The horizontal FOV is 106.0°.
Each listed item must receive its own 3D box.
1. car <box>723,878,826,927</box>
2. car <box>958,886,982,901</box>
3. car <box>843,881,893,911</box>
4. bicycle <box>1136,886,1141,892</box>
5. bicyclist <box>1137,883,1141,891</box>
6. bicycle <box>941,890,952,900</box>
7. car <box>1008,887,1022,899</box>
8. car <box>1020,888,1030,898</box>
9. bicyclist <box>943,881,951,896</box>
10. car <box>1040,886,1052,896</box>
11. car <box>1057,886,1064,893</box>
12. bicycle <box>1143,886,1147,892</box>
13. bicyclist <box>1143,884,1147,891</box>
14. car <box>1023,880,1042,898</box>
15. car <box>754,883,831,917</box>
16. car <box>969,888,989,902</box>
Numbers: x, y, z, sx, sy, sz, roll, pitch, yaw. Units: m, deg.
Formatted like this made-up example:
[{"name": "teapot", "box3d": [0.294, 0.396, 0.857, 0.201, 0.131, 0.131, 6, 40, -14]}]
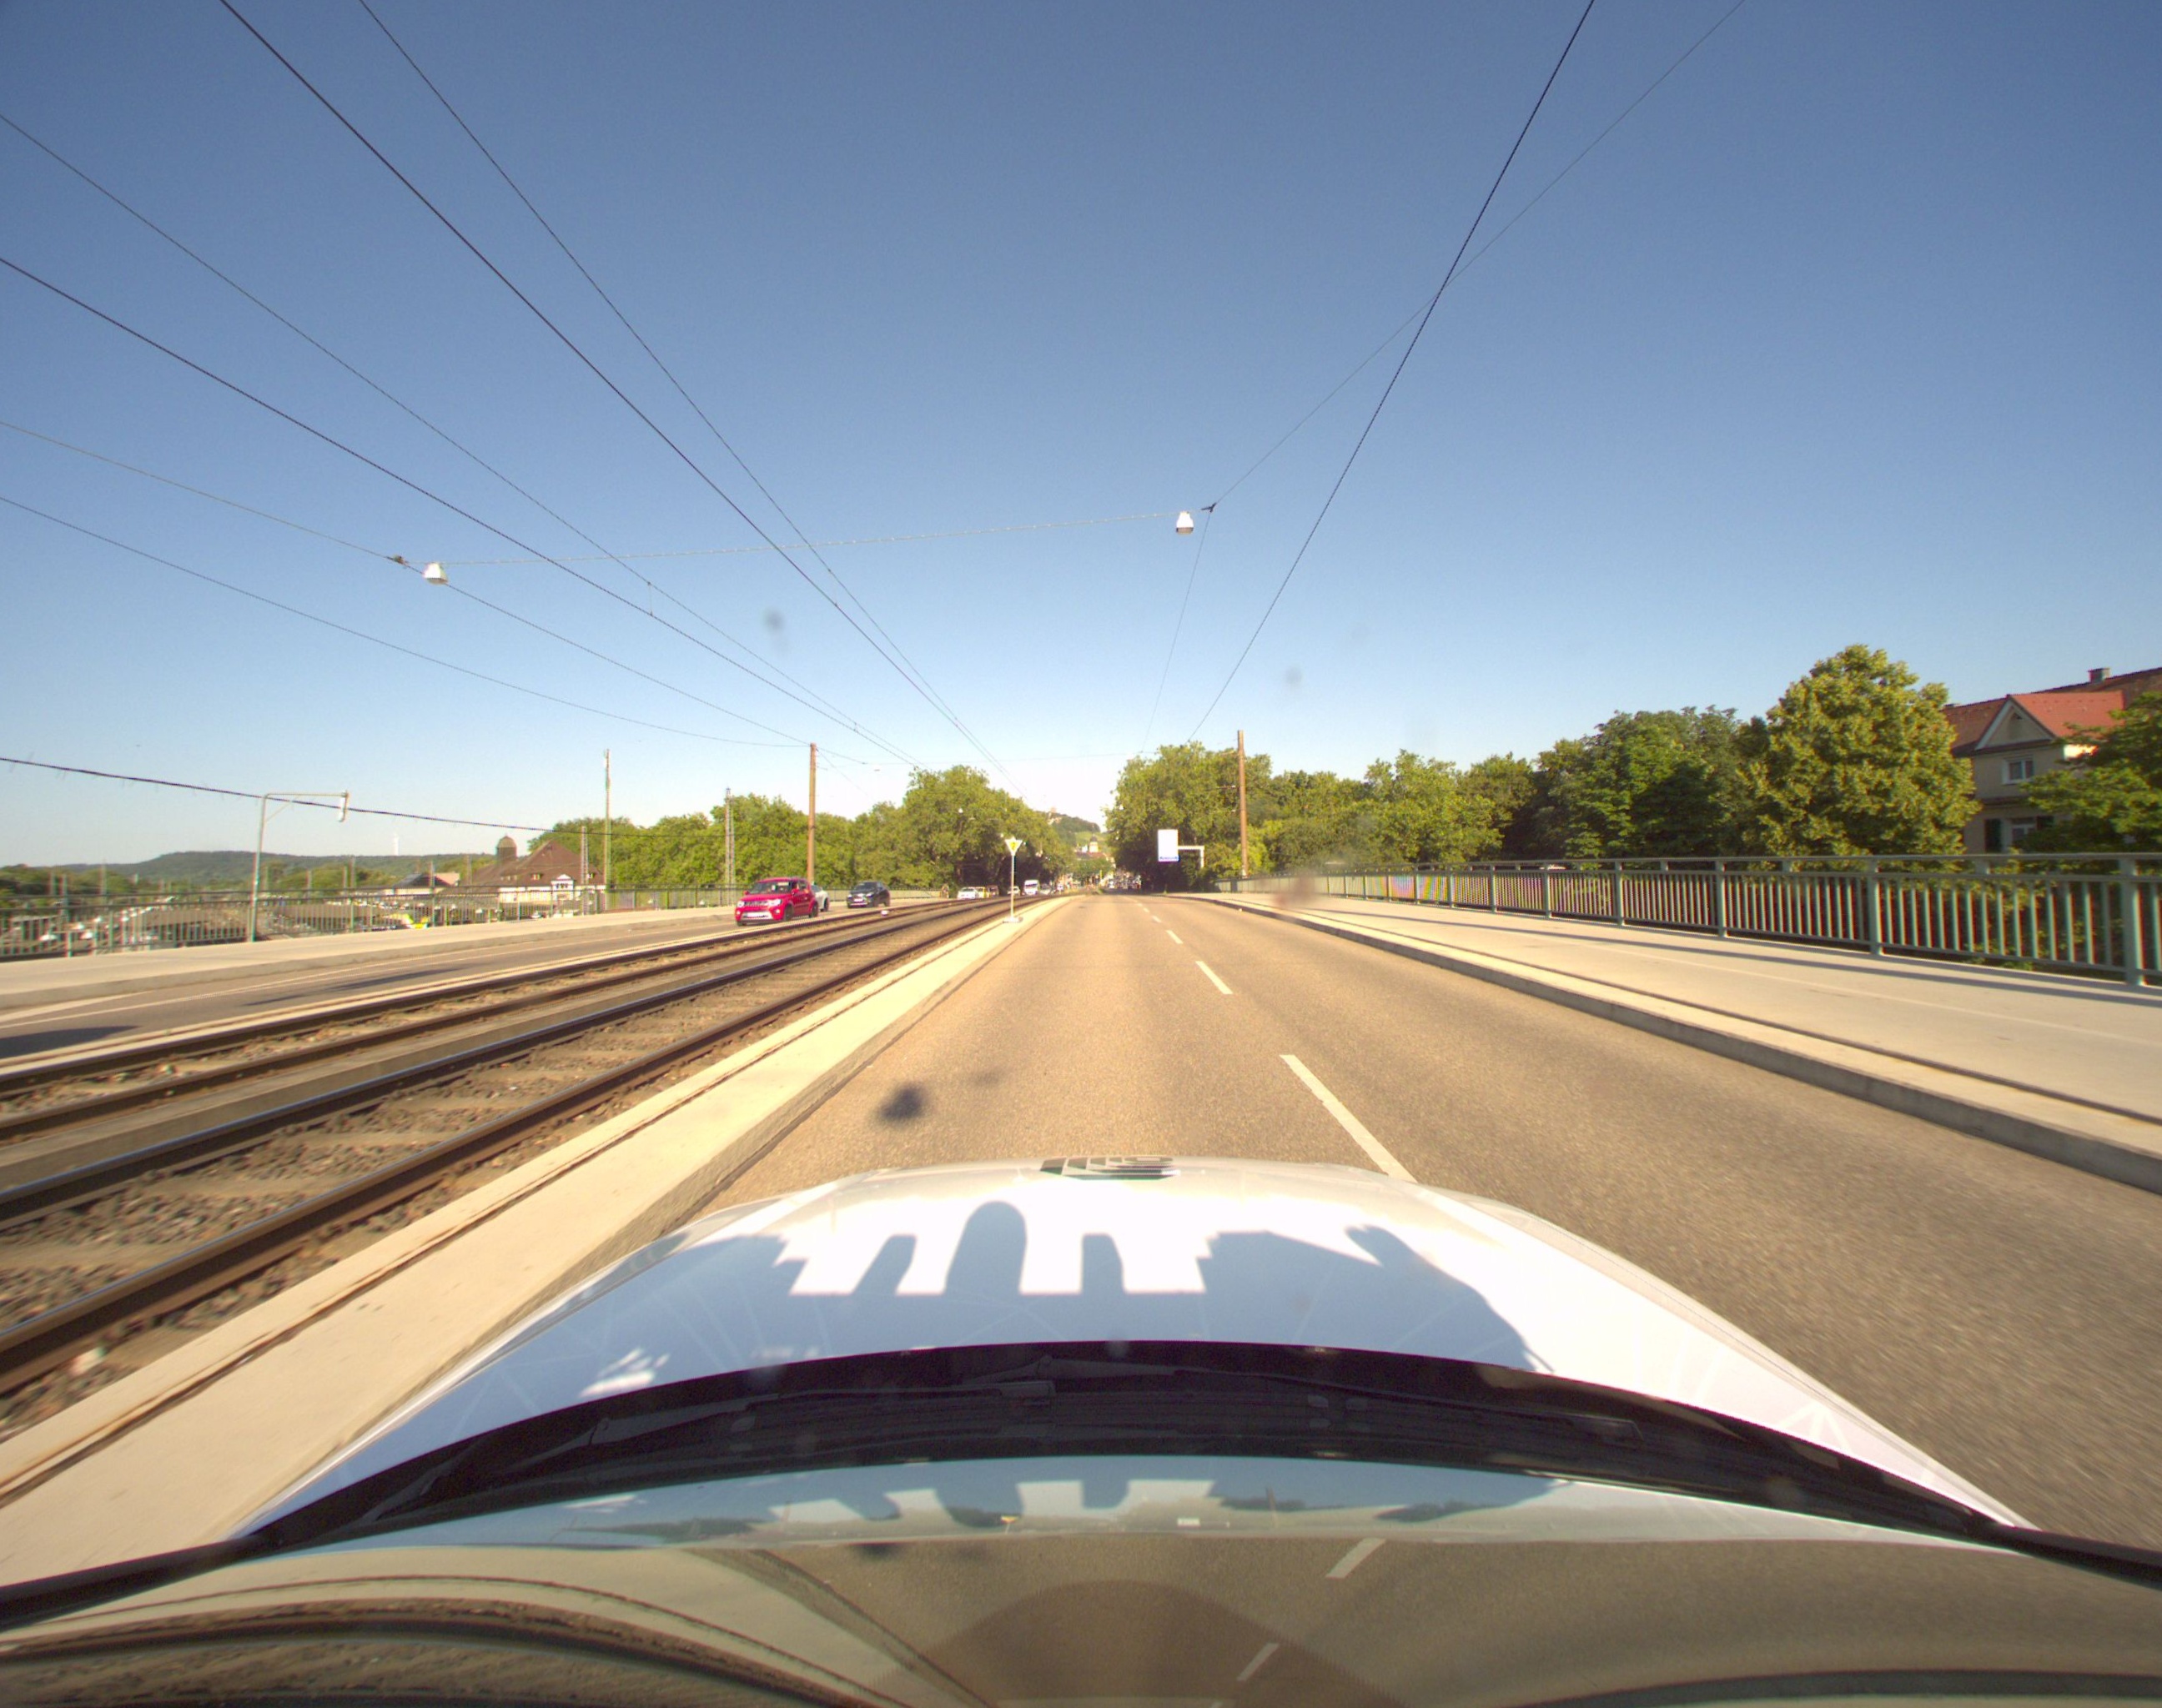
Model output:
[{"name": "car", "box3d": [-10.195, 1.622, 27.442, 1.801, 1.520, 4.000, 0, -3, 2]}, {"name": "car", "box3d": [-11.721, 4.185, 86.383, 1.735, 1.464, 4.955, -1, -2, 1]}, {"name": "car", "box3d": [-12.992, 2.553, 49.939, 1.773, 1.650, 4.448, -1, -1, 2]}, {"name": "bicycle", "box3d": [14.152, 8.585, 199.625, 0.884, 1.321, 2.637, -2, -3, -2]}, {"name": "bicyclist", "box3d": [14.140, 8.049, 199.491, 0.884, 1.775, 1.221, -2, -3, -2]}, {"name": "bicycle", "box3d": [-14.701, 4.451, 89.042, 0.677, 1.098, 2.101, 1, -2, 2]}, {"name": "car", "box3d": [-10.659, 6.270, 131.253, 1.736, 1.743, 4.512, -5, -2, -1]}, {"name": "car", "box3d": [-10.067, 6.986, 146.425, 1.738, 1.637, 3.995, -2, -2, -3]}, {"name": "bicyclist", "box3d": [-14.681, 3.806, 89.212, 0.677, 1.627, 0.890, 1, -2, 2]}, {"name": "car", "box3d": [-6.661, 6.988, 155.785, 1.866, 1.665, 4.599, -6, -2, 2]}, {"name": "car", "box3d": [-6.006, 10.523, 241.484, 1.988, 1.844, 5.298, -4, -2, -1]}, {"name": "bicycle", "box3d": [15.169, 8.290, 193.577, 0.883, 1.321, 2.640, -2, -3, 2]}, {"name": "bicyclist", "box3d": [15.169, 8.017, 193.715, 0.883, 1.639, 1.164, -2, -3, 2]}, {"name": "car", "box3d": [-7.350, 5.323, 124.470, 2.078, 2.593, 6.044, -5, -3, 3]}, {"name": "car", "box3d": [-13.344, 2.079, 37.988, 1.678, 1.356, 4.921, -1, -1, 2]}, {"name": "car", "box3d": [-11.547, 4.605, 92.417, 1.627, 1.531, 3.791, -1, -2, 2]}]
